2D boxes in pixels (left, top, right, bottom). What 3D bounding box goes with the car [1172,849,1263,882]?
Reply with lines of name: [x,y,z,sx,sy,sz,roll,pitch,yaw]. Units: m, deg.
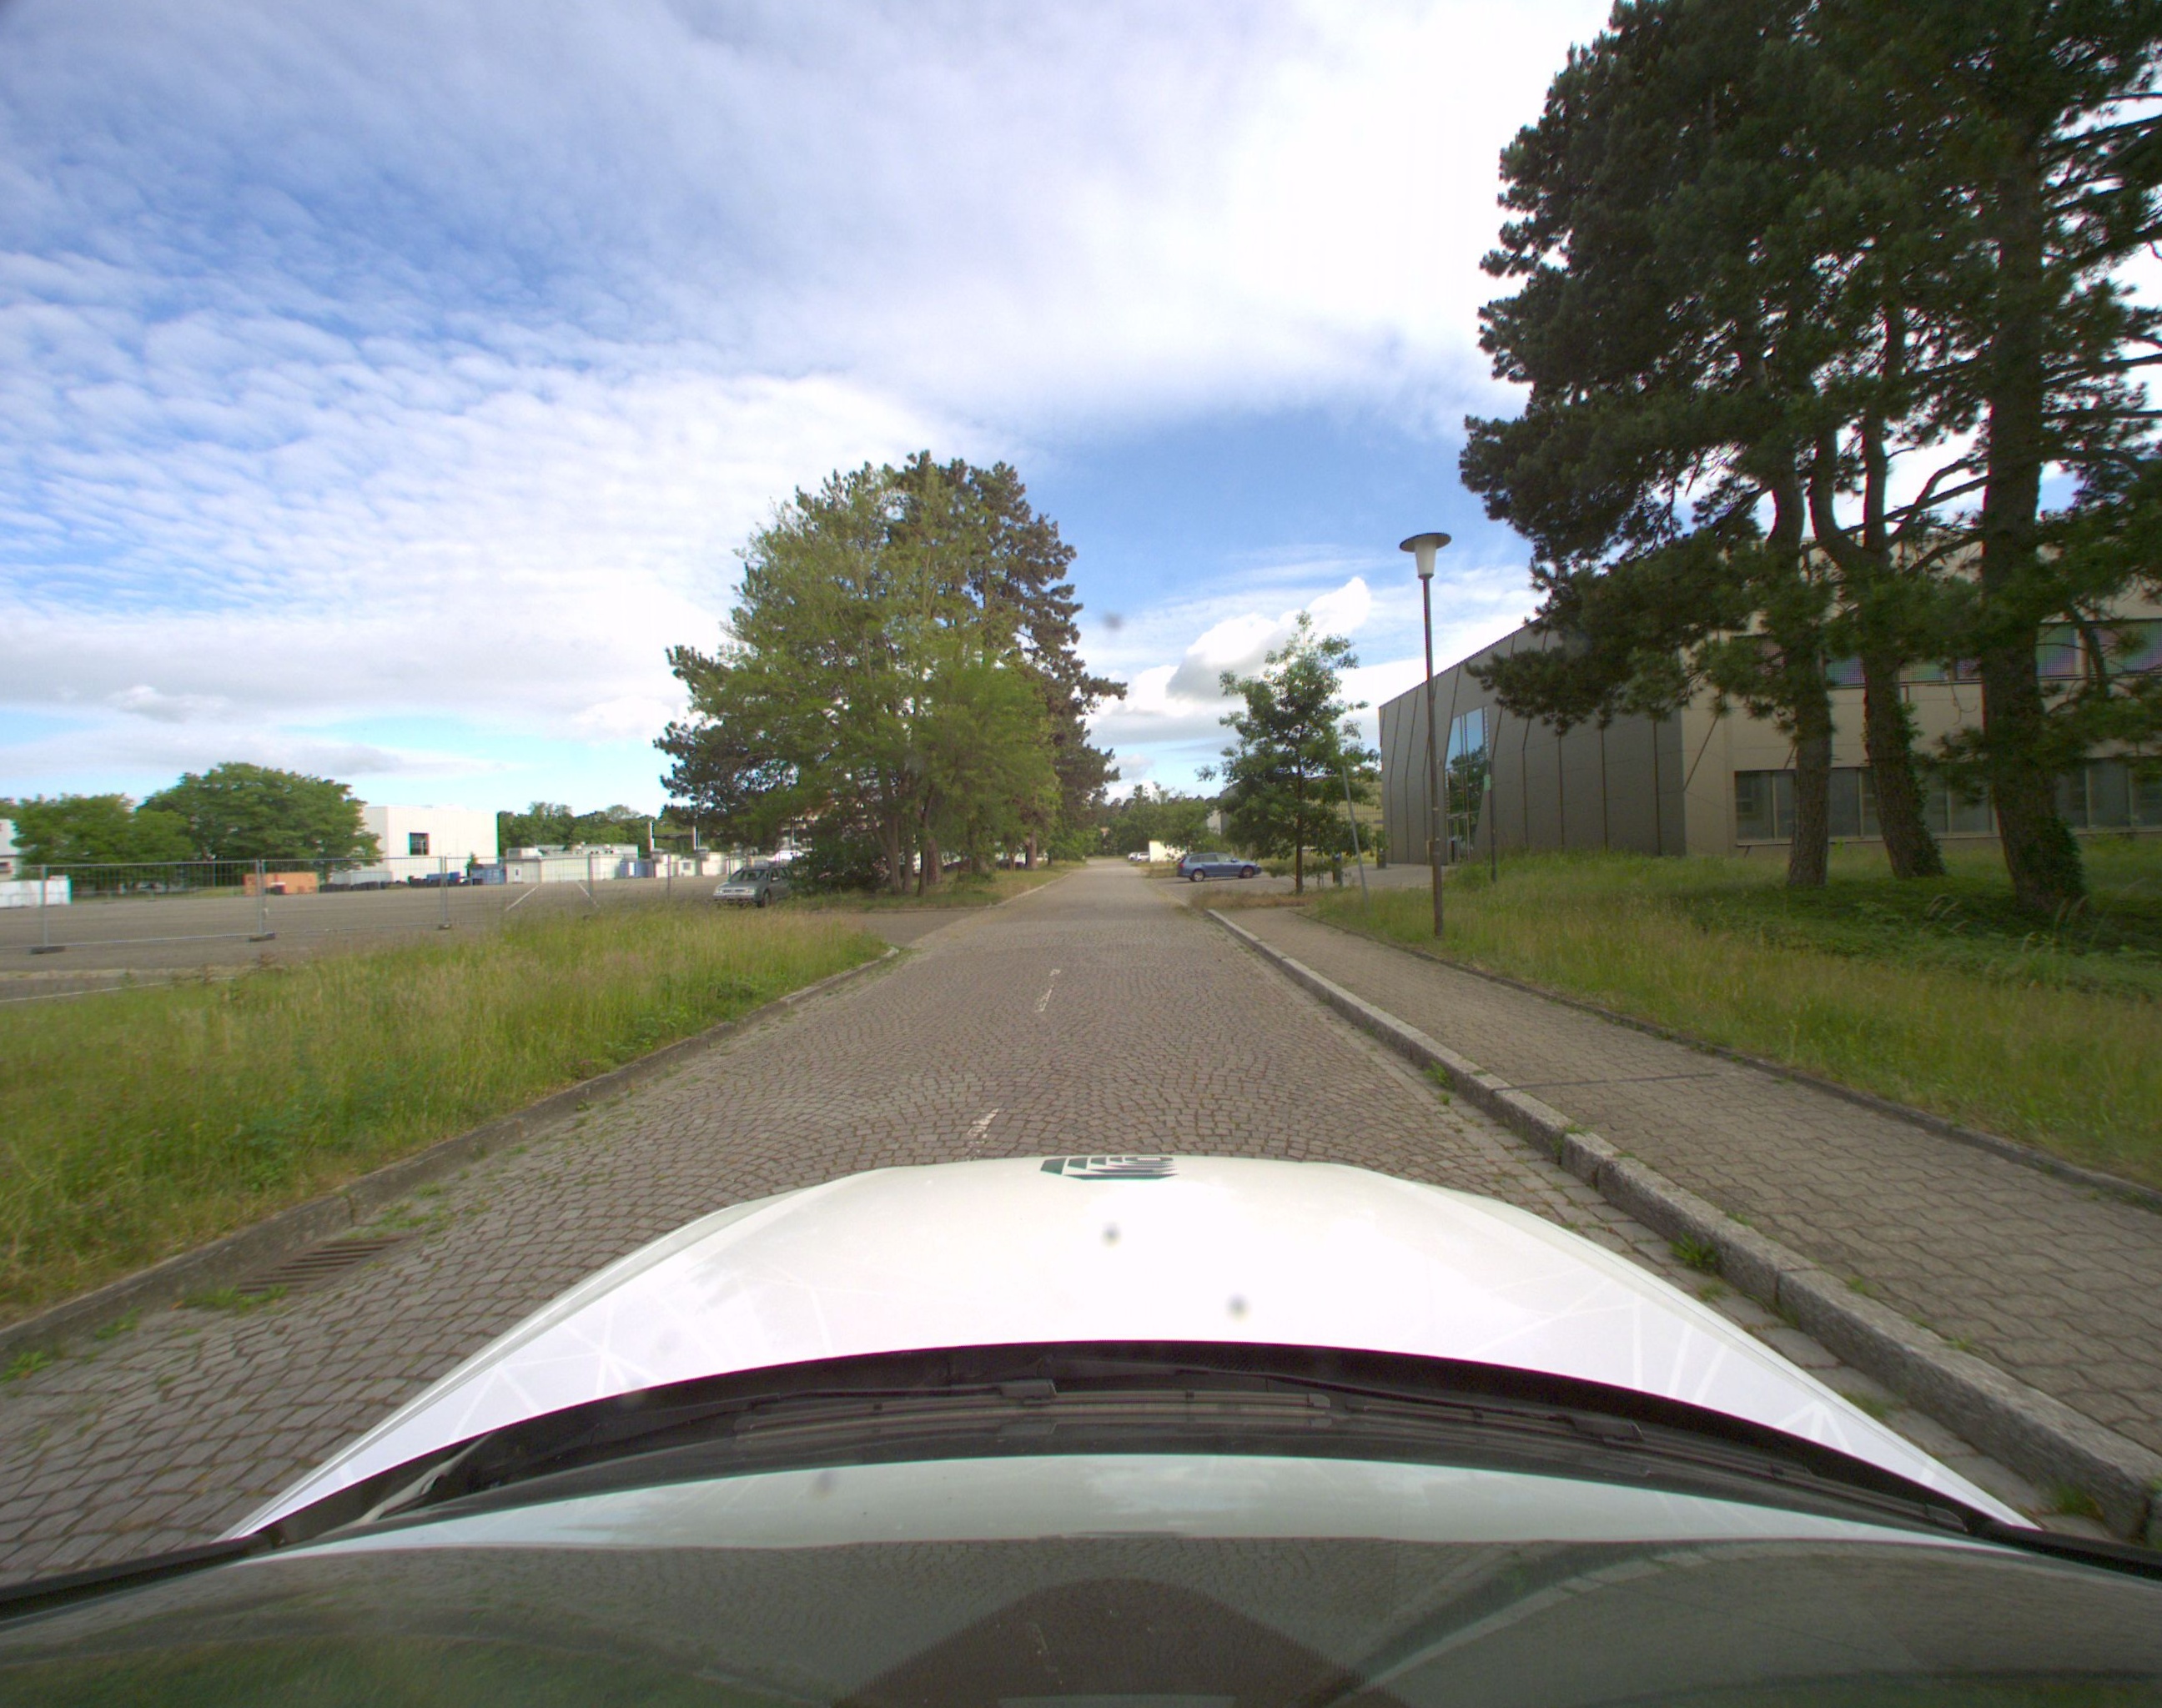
car: [7.260,0.608,43.640,4.510,1.443,1.822,-4,0,-2]

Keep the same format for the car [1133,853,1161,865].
car: [9.493,0.741,117.188,3.838,1.654,1.685,-2,0,-1]

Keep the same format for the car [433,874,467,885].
car: [-98.361,3.978,126.918,3.954,1.533,1.630,-2,0,-1]

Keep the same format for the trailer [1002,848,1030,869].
trailer: [-10.316,0.715,130.356,3.145,3.067,8.793,-2,0,4]

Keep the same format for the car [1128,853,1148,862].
car: [11.380,0.715,163.328,4.009,1.502,1.549,-2,0,2]

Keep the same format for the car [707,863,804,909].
car: [-11.698,1.113,29.613,1.710,1.438,4.466,-2,0,0]
